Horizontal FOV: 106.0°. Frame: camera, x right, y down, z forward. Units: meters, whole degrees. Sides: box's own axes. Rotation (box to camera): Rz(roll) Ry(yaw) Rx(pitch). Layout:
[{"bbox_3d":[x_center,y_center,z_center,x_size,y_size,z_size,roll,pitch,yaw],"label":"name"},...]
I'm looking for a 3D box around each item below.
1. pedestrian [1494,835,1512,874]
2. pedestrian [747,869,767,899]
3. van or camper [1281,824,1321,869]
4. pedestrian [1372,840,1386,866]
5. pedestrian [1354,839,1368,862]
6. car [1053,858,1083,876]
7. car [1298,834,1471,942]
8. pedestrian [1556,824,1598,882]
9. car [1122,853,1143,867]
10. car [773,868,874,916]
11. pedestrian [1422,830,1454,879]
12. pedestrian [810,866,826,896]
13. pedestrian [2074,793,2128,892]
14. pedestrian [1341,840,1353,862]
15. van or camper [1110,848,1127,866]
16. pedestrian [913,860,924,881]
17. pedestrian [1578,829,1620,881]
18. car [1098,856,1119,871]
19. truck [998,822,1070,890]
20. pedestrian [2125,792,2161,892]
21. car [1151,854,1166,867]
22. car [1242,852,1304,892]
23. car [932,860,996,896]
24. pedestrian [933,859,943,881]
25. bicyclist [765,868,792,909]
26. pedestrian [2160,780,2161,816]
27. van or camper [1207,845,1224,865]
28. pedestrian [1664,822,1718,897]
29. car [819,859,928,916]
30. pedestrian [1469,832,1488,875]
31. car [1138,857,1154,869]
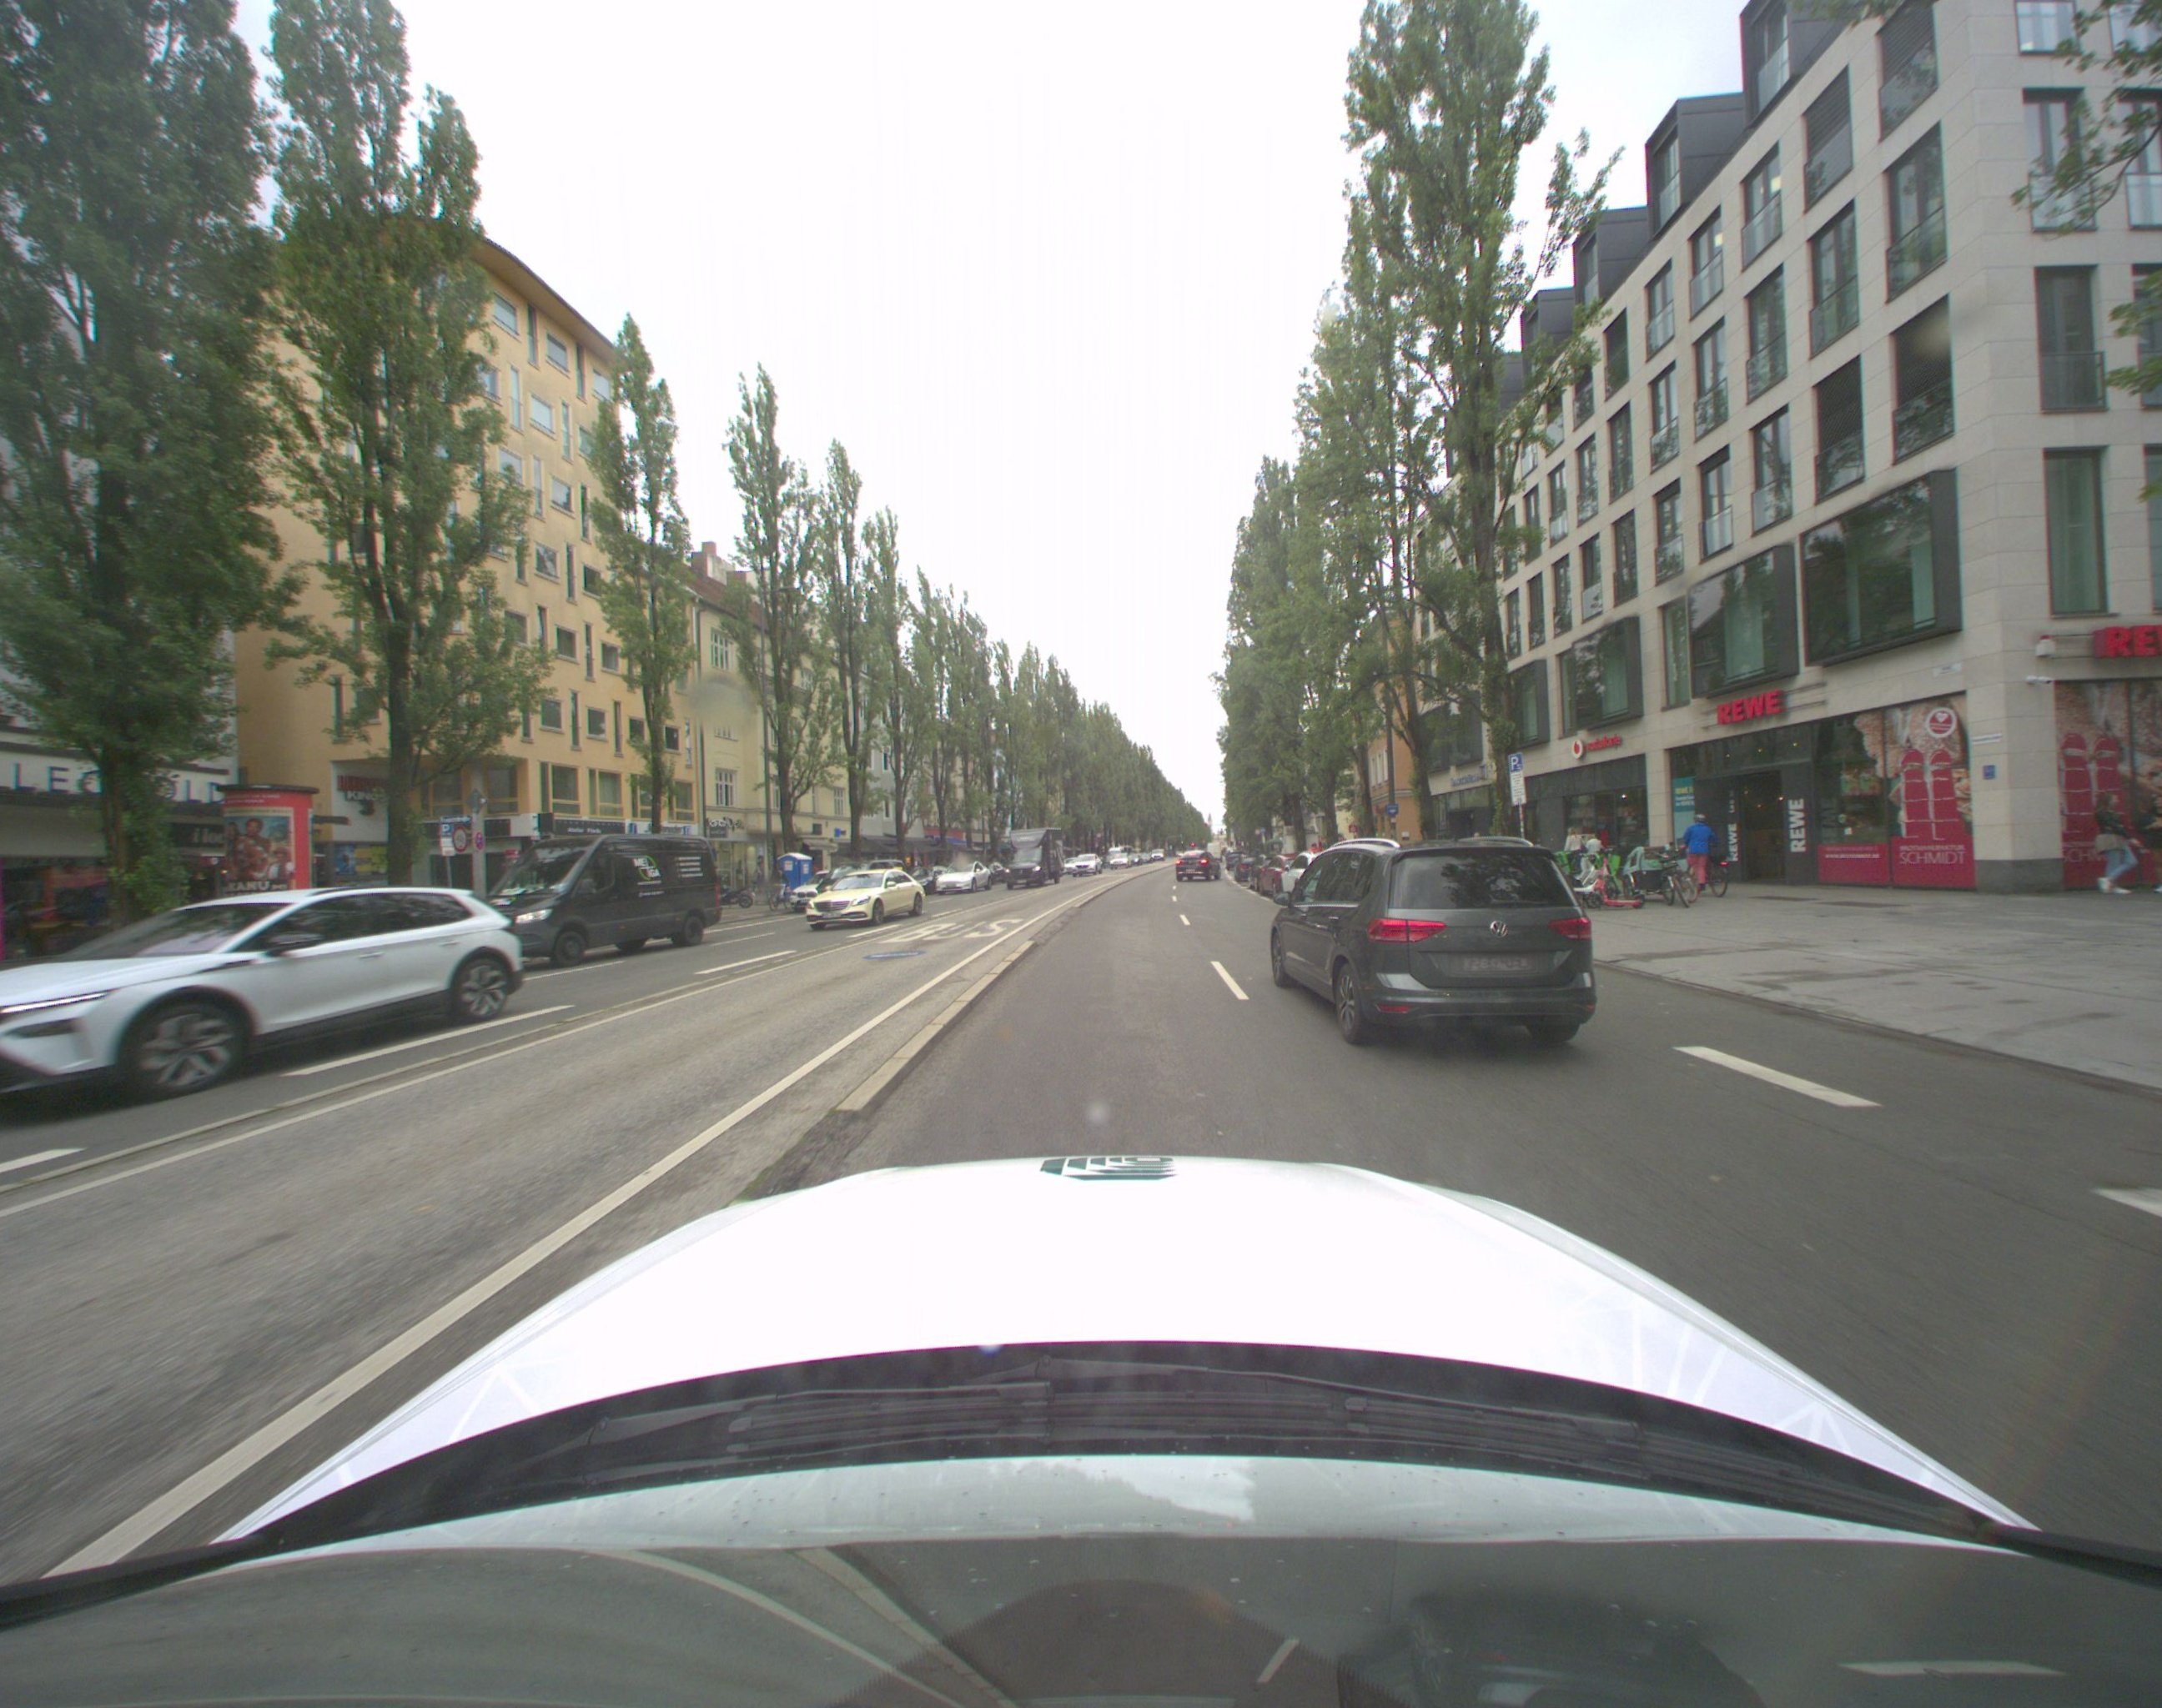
[{"bbox_3d":[16.224,0.022,31.287,0.497,1.491,0.551,-3,-1,34],"label":"pedestrian"},{"bbox_3d":[-17.688,1.623,44.503,0.630,1.561,0.818,-3,0,11],"label":"pedestrian"},{"bbox_3d":[16.727,-0.557,62.208,2.445,3.112,4.729,-3,0,10],"label":"van or camper"},{"bbox_3d":[19.547,-0.083,53.450,0.724,1.626,0.809,-3,-1,19],"label":"pedestrian"},{"bbox_3d":[20.638,-0.247,60.044,0.815,1.613,0.782,-3,0,12],"label":"pedestrian"},{"bbox_3d":[-1.145,1.137,73.308,1.928,1.493,4.468,-3,0,9],"label":"car"},{"bbox_3d":[5.470,0.582,15.365,1.915,1.700,4.657,-1,-1,5],"label":"car"},{"bbox_3d":[15.690,-0.030,25.765,0.794,1.772,0.679,-3,-1,-10],"label":"pedestrian"},{"bbox_3d":[6.214,0.730,97.239,1.982,1.432,4.785,-4,0,9],"label":"car"},{"bbox_3d":[-10.443,1.496,33.430,1.981,1.629,4.395,-3,0,11],"label":"car"},{"bbox_3d":[13.959,0.020,31.896,0.813,1.869,0.940,-3,0,6],"label":"pedestrian"},{"bbox_3d":[-15.836,1.629,49.030,0.535,1.747,0.757,-2,0,9],"label":"pedestrian"},{"bbox_3d":[18.416,-0.202,14.707,0.427,1.751,0.465,-2,-1,-23],"label":"pedestrian"},{"bbox_3d":[19.722,-0.208,60.432,0.668,1.613,0.642,-3,-1,12],"label":"pedestrian"},{"bbox_3d":[5.625,0.416,121.590,1.981,2.458,4.262,-2,0,9],"label":"van or camper"},{"bbox_3d":[-13.129,1.323,65.807,0.634,1.700,0.649,-3,-1,9],"label":"pedestrian"},{"bbox_3d":[16.565,0.039,26.044,0.794,1.621,0.715,-3,0,-11],"label":"pedestrian"},{"bbox_3d":[3.280,1.137,96.678,1.837,1.564,4.223,-3,-1,10],"label":"car"},{"bbox_3d":[-2.474,0.093,45.368,2.277,3.323,7.176,-4,0,9],"label":"truck"},{"bbox_3d":[19.121,-0.218,14.487,0.465,1.751,0.428,-3,0,6],"label":"pedestrian"},{"bbox_3d":[12.475,1.040,130.926,1.981,1.934,4.931,-4,-1,9],"label":"car"},{"bbox_3d":[7.550,0.675,32.454,1.837,1.428,4.433,-2,0,6],"label":"car"},{"bbox_3d":[-6.102,1.223,43.058,1.982,1.651,4.648,-4,0,9],"label":"car"},{"bbox_3d":[-12.557,1.398,71.590,0.634,1.862,0.649,-3,-1,9],"label":"pedestrian"},{"bbox_3d":[-12.277,1.381,33.065,0.493,1.581,1.110,-3,0,9],"label":"bicyclist"},{"bbox_3d":[13.949,0.006,9.784,0.644,1.924,0.926,-3,0,1],"label":"pedestrian"},{"bbox_3d":[17.781,0.121,107.741,2.022,2.475,4.010,-2,-2,9],"label":"van or camper"},{"bbox_3d":[13.775,0.115,18.403,0.606,1.619,0.796,-3,0,10],"label":"pedestrian"},{"bbox_3d":[-8.077,1.230,32.364,1.982,1.863,5.726,-4,0,9],"label":"car"},{"bbox_3d":[15.290,-0.012,31.330,0.544,1.638,0.562,-3,-1,34],"label":"pedestrian"},{"bbox_3d":[8.689,1.225,108.627,1.701,1.414,3.732,-3,0,9],"label":"car"}]
